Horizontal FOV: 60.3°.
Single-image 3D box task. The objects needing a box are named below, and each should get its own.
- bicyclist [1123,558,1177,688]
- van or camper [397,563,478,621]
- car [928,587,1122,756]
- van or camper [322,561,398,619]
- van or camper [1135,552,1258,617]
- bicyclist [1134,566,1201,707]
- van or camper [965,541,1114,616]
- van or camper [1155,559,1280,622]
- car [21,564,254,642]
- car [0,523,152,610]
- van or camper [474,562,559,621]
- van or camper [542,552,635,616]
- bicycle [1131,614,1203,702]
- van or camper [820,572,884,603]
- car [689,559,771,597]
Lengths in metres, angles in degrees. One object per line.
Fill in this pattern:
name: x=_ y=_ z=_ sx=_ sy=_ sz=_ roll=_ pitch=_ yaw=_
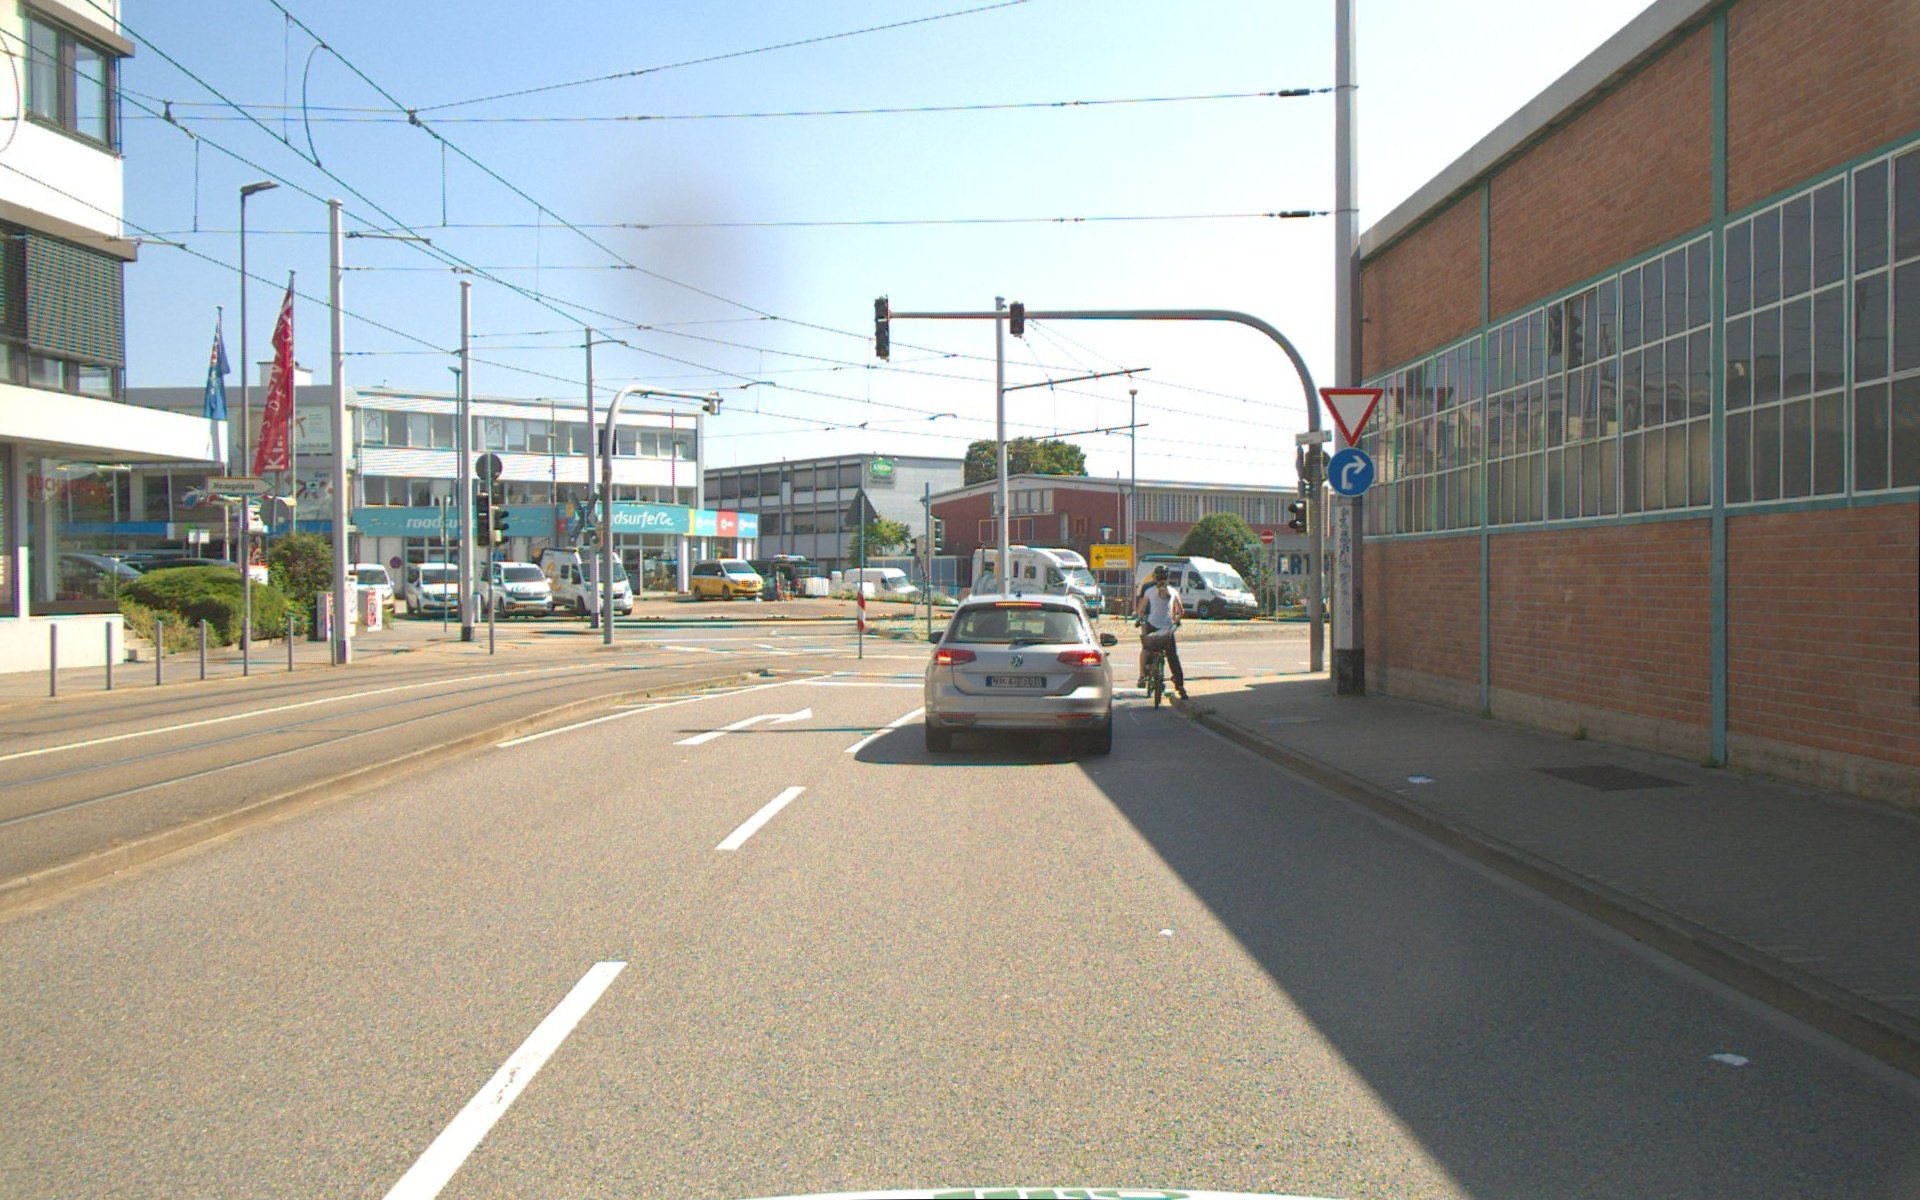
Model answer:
bicyclist: x=2.734 y=0.324 z=23.860 sx=0.693 sy=1.842 sz=0.983 roll=0 pitch=0 yaw=2
van or camper: x=-20.272 y=-0.349 z=64.058 sx=1.973 sy=2.048 sz=4.714 roll=-1 pitch=3 yaw=-30
car: x=0.653 y=0.622 z=16.669 sx=1.710 sy=1.484 sz=4.001 roll=0 pitch=0 yaw=2
van or camper: x=-23.273 y=-0.434 z=64.050 sx=1.973 sy=2.048 sz=4.714 roll=-1 pitch=3 yaw=-30
van or camper: x=10.311 y=-0.726 z=72.513 sx=2.265 sy=2.482 sz=5.318 roll=-2 pitch=5 yaw=-36
bicyclist: x=2.637 y=0.446 z=21.120 sx=0.769 sy=1.752 sz=1.147 roll=0 pitch=0 yaw=3
van or camper: x=3.370 y=-0.997 z=71.686 sx=2.335 sy=2.981 sz=6.879 roll=-2 pitch=4 yaw=-42
van or camper: x=11.882 y=-0.493 z=76.747 sx=2.265 sy=2.656 sz=5.817 roll=-2 pitch=3 yaw=-36
car: x=-17.346 y=0.036 z=35.015 sx=3.904 sy=1.545 sz=2.001 roll=0 pitch=3 yaw=2
car: x=-17.689 y=-0.625 z=31.177 sx=3.904 sy=1.590 sz=2.001 roll=0 pitch=0 yaw=2
van or camper: x=-17.397 y=-0.374 z=64.717 sx=1.973 sy=2.048 sz=4.960 roll=-1 pitch=3 yaw=-30
van or camper: x=-14.899 y=-0.701 z=66.053 sx=2.010 sy=2.336 sz=5.754 roll=-1 pitch=3 yaw=-30
bicycle: x=2.652 y=0.715 z=21.381 sx=0.777 sy=1.039 sz=2.151 roll=0 pitch=0 yaw=3
van or camper: x=-6.975 y=-0.802 z=106.310 sx=3.931 sy=1.982 sz=1.987 roll=0 pitch=0 yaw=44
car: x=-11.130 y=-1.040 z=79.830 sx=1.921 sy=1.790 sz=5.062 roll=0 pitch=0 yaw=-34
